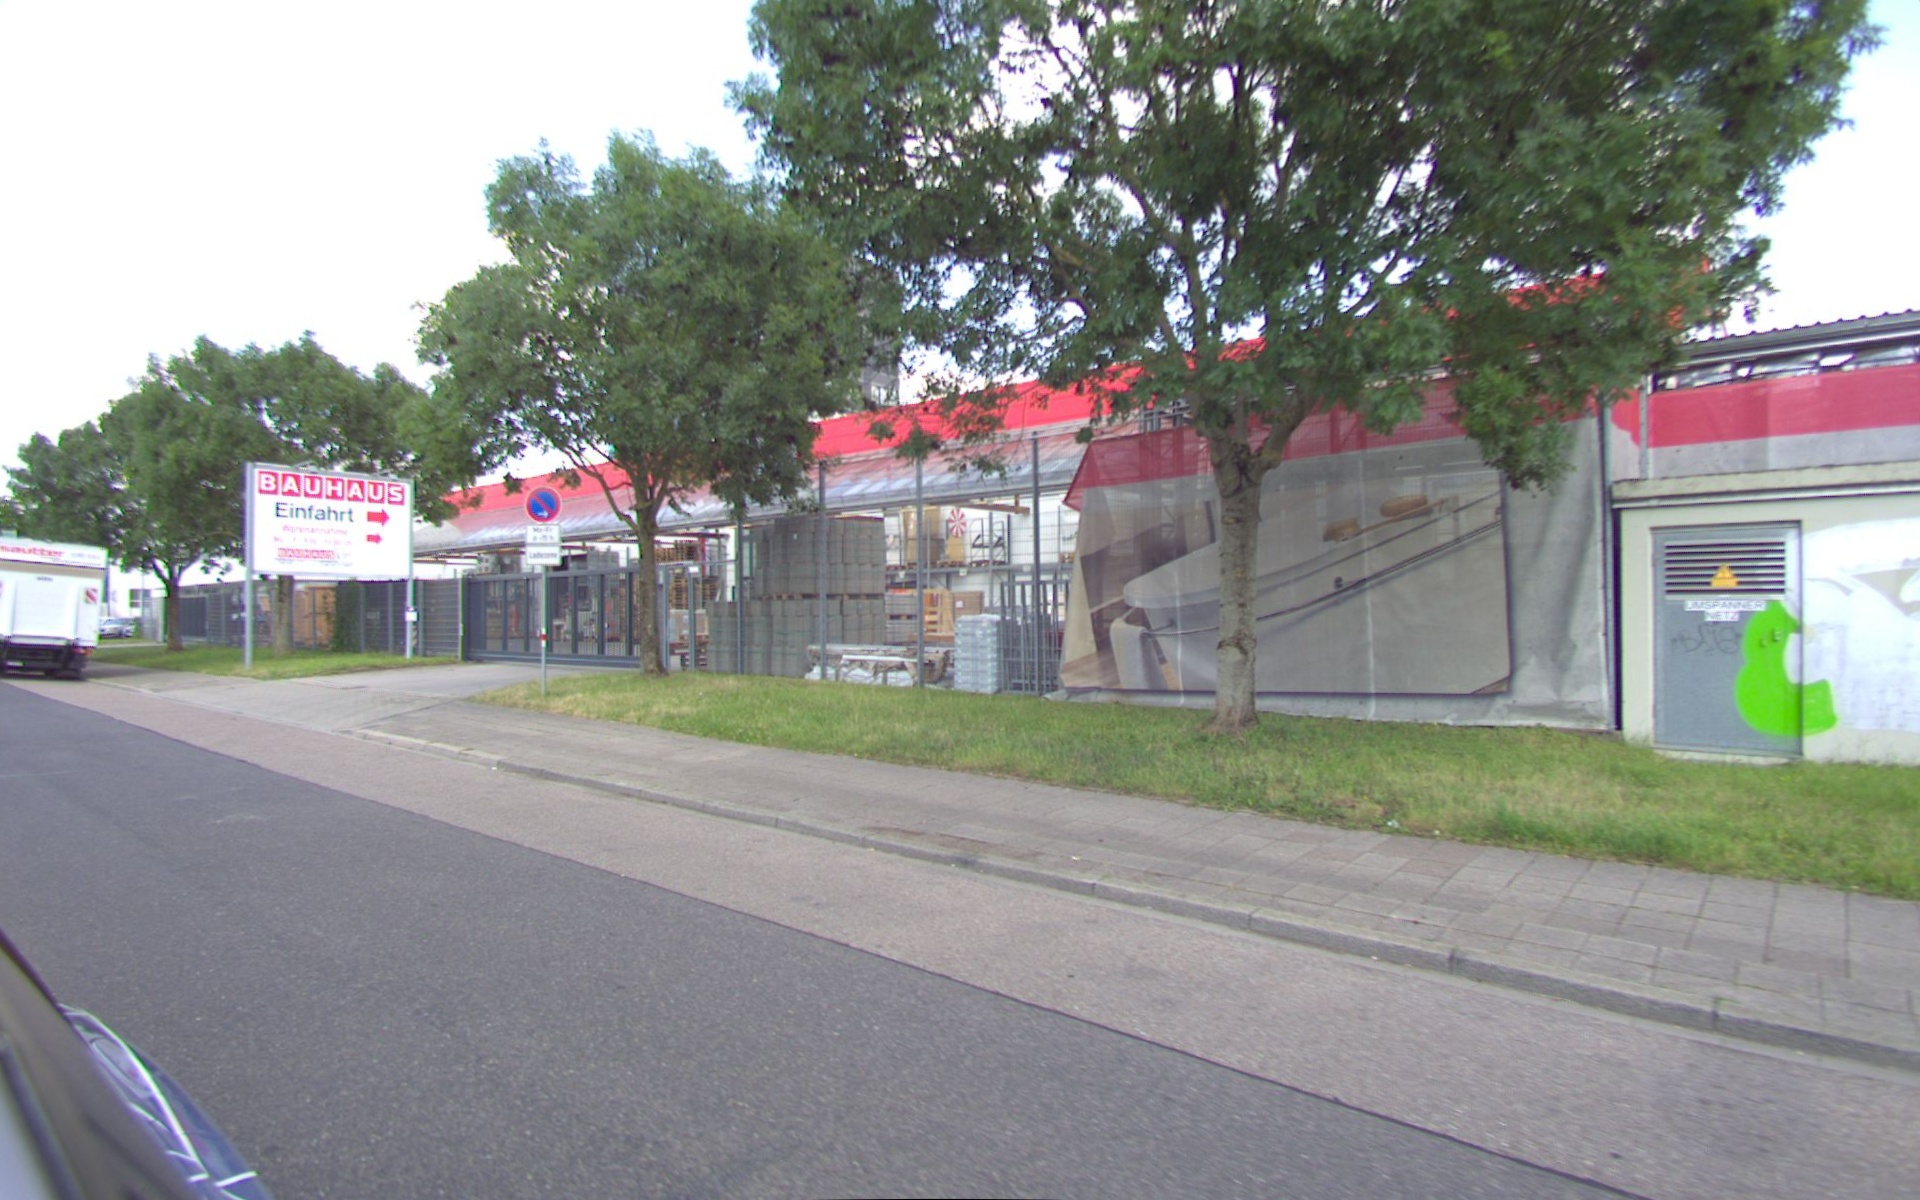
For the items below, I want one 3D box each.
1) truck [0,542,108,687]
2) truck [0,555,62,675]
[{"bbox_3d":[-27.104,0.414,29.170,7.167,3.751,2.719,0,-2,41],"label":"truck"},{"bbox_3d":[-33.270,0.542,34.672,7.167,3.838,2.719,-1,-3,41],"label":"truck"}]
